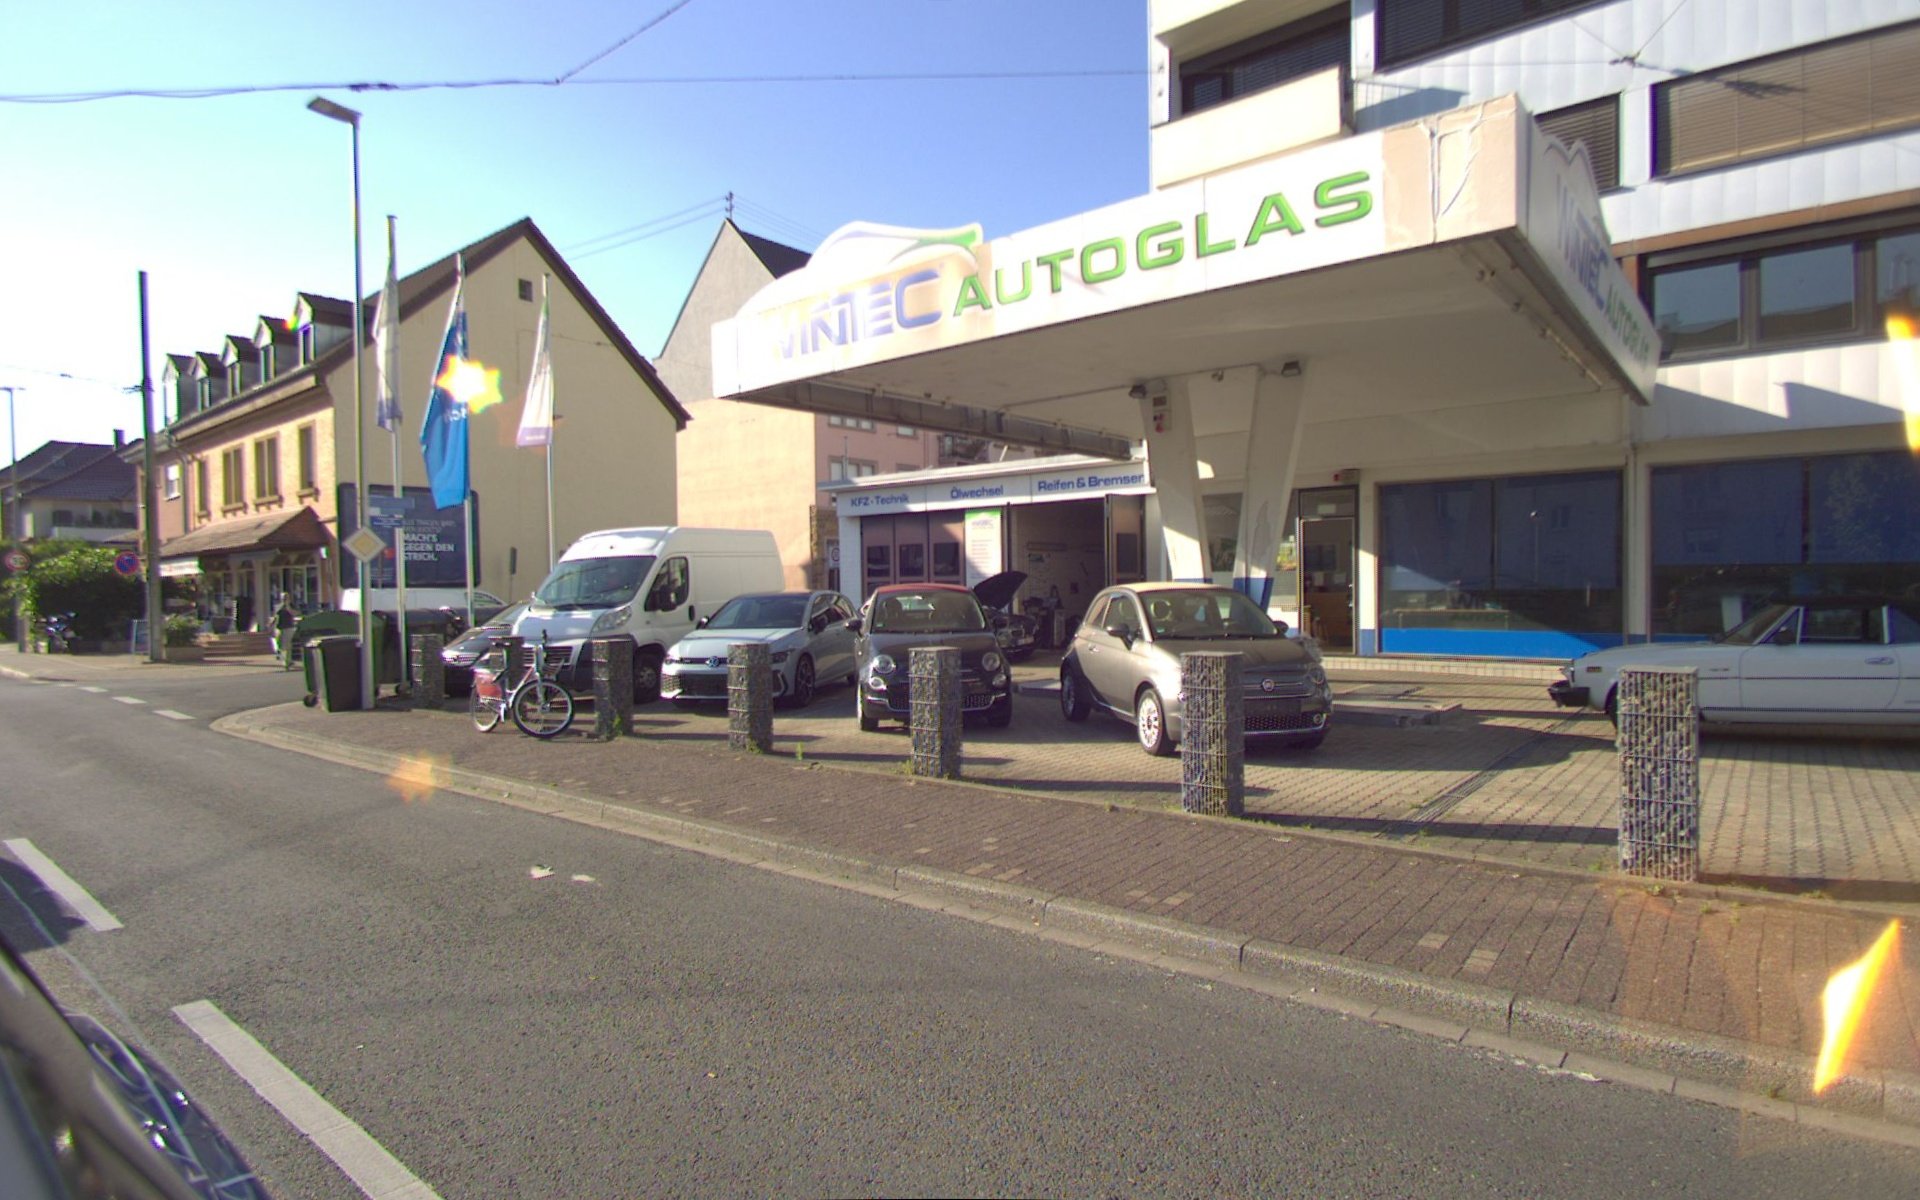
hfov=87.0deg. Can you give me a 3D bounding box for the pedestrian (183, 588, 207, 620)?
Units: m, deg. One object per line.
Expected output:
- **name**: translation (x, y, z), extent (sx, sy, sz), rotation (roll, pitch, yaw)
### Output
- **pedestrian**: translation (-25.983, 0.128, 34.367), extent (0.381, 1.055, 0.521), rotation (-1, 0, 24)

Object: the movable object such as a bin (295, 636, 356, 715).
- **movable object such as a bin**: translation (-9.362, 1.100, 14.929), extent (0.652, 1.070, 0.586), rotation (-4, 1, -38)

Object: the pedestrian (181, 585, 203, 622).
- **pedestrian**: translation (-26.802, 0.117, 35.313), extent (0.465, 1.268, 0.517), rotation (-1, 0, 42)

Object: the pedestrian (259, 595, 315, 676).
- **pedestrian**: translation (-16.095, 0.825, 24.217), extent (0.807, 1.882, 0.796), rotation (-1, 0, -6)

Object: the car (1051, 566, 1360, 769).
- **car**: translation (2.149, 0.515, 9.803), extent (1.595, 1.580, 3.402), rotation (-1, 1, -11)

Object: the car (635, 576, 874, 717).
- **car**: translation (-2.561, 0.509, 13.666), extent (1.754, 1.580, 3.987), rotation (-2, 1, 11)

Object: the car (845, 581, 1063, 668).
- **car**: translation (-0.195, 0.482, 20.744), extent (4.311, 1.580, 1.750), rotation (-1, 1, 39)

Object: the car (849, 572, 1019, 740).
- **car**: translation (-0.429, 0.522, 11.507), extent (1.597, 1.580, 3.399), rotation (-1, 1, -6)

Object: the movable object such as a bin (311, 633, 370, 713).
- **movable object such as a bin**: translation (-8.889, 1.041, 14.516), extent (0.631, 1.077, 0.581), rotation (-2, -2, -38)

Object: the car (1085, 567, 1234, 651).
- **car**: translation (4.790, 0.158, 23.841), extent (1.769, 1.722, 4.263), rotation (-2, 1, 36)

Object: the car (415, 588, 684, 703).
- **car**: translation (-6.667, 0.669, 16.896), extent (1.763, 1.580, 3.966), rotation (-2, 1, 26)

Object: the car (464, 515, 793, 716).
- **car**: translation (-4.657, 0.152, 15.245), extent (2.091, 2.488, 5.042), rotation (-1, 1, 18)

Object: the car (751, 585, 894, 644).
- **car**: translation (-4.113, 0.381, 30.647), extent (1.999, 1.536, 3.947), rotation (5, 4, 40)

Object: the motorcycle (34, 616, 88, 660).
- **motorcycle**: translation (-28.050, 1.168, 31.560), extent (2.229, 1.292, 0.831), rotation (0, 2, 37)

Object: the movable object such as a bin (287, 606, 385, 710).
- **movable object such as a bin**: translation (-9.794, 0.897, 15.951), extent (1.040, 1.494, 1.316), rotation (-3, -2, -21)

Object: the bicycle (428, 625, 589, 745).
- **bicycle**: translation (-4.956, 0.886, 11.080), extent (1.774, 1.186, 0.718), rotation (-1, 1, 31)

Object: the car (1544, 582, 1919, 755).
- **car**: translation (7.405, 0.521, 8.522), extent (4.131, 1.294, 1.572), rotation (-2, 0, 37)

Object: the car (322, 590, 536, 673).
- **car**: translation (-13.843, 0.749, 26.613), extent (1.997, 1.947, 4.571), rotation (-1, 0, 38)
